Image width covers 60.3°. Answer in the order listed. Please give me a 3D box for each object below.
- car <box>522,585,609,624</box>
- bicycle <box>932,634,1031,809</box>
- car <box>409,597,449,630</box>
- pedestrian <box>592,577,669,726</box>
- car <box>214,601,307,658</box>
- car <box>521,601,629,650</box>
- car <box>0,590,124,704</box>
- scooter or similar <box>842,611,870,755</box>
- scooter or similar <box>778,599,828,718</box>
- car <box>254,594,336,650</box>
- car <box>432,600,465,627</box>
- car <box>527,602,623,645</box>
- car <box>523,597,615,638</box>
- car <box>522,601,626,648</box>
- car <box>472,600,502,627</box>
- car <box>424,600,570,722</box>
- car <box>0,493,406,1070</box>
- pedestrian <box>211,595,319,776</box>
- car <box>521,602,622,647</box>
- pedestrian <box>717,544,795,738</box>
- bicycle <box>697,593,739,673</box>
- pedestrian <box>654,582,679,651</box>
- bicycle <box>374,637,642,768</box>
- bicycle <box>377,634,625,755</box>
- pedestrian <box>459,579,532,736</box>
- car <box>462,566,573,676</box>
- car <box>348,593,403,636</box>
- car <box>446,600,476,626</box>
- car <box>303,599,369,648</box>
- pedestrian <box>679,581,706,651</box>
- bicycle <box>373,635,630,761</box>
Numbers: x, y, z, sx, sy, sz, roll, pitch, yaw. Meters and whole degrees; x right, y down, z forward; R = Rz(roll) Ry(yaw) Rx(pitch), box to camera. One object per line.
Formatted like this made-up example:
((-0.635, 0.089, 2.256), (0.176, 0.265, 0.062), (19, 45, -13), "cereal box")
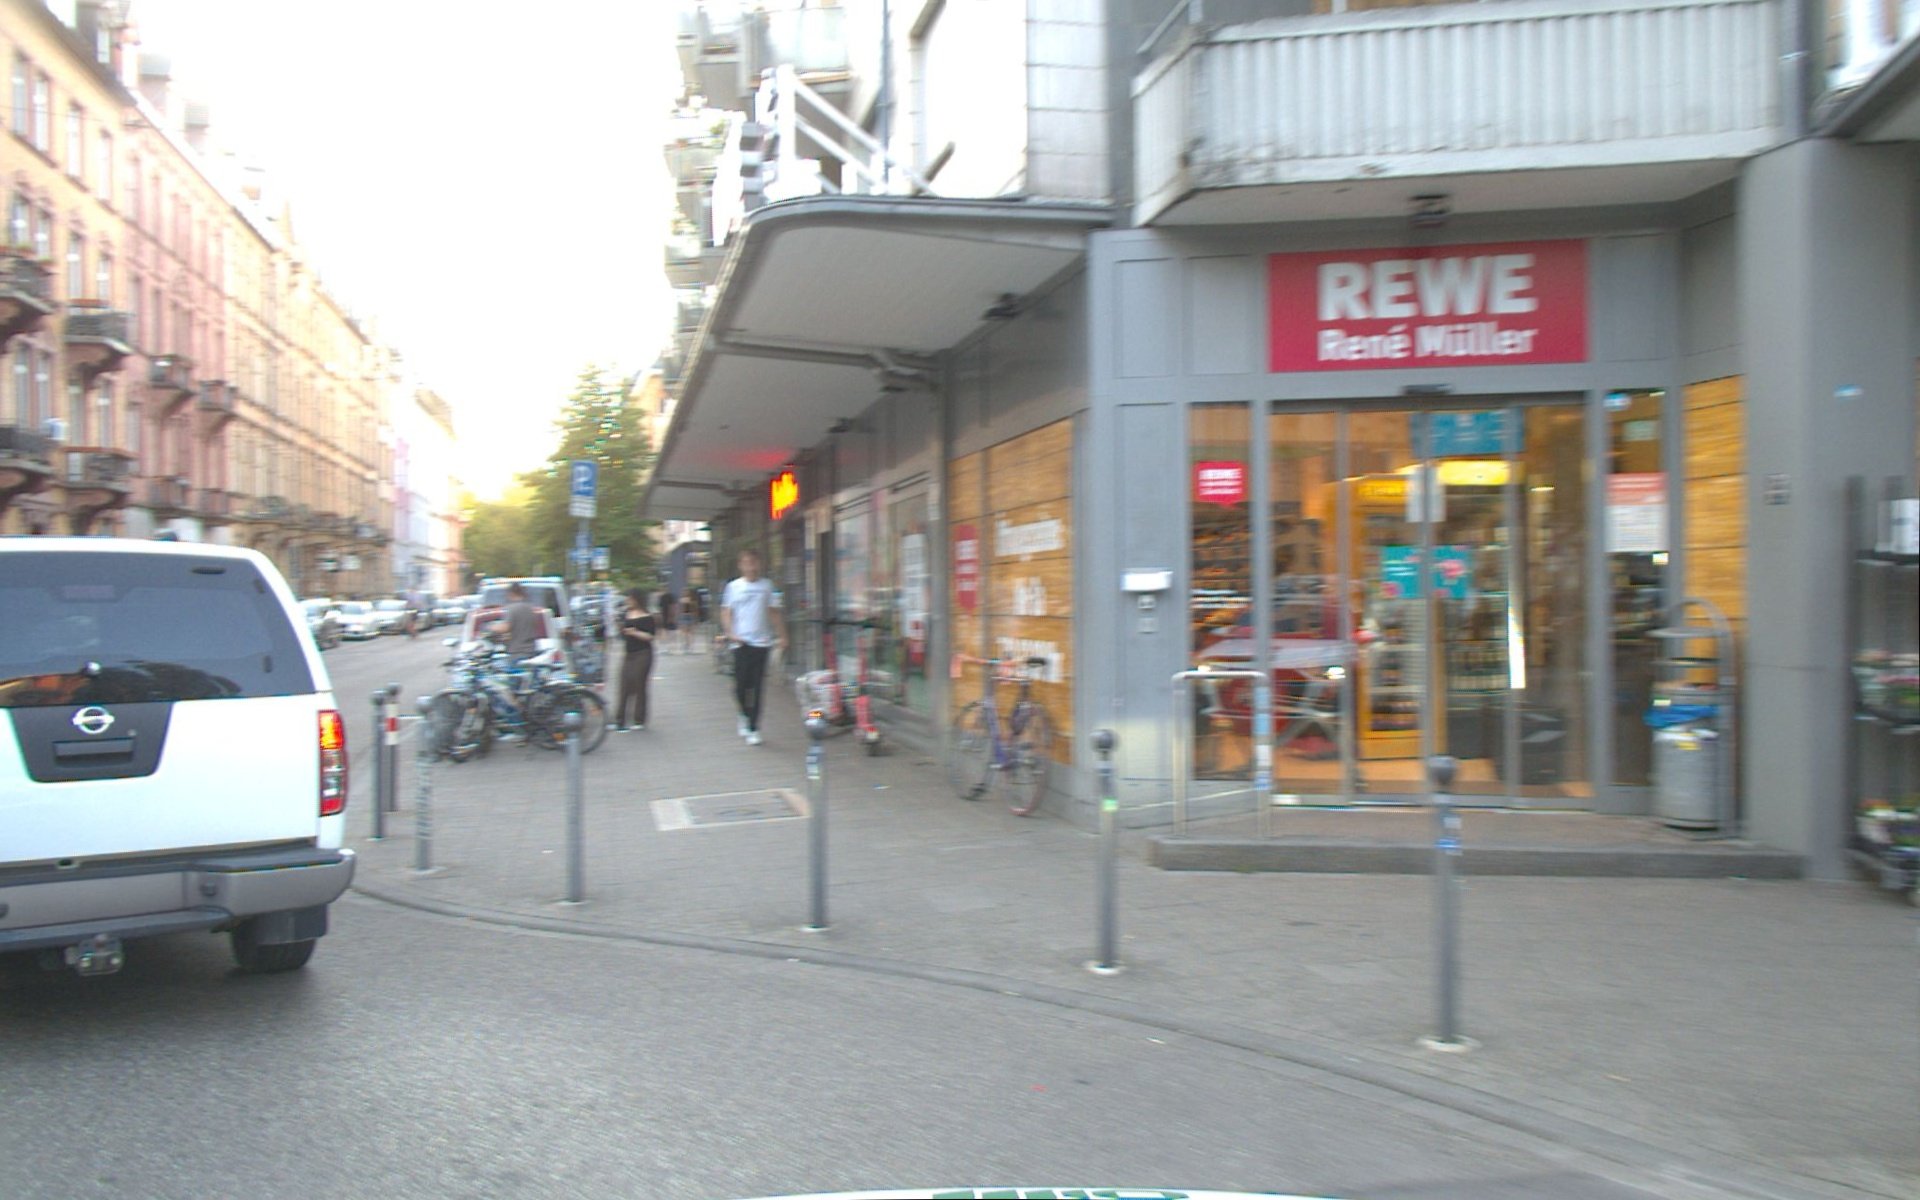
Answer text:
((-18.440, 0.231, 77.356), (3.919, 1.780, 1.834), (1, -1, -14), "car")
((0.138, 0.805, 11.321), (0.285, 1.132, 0.958), (1, -1, -25), "bicycle")
((-29.970, 0.760, 93.401), (1.803, 1.780, 3.986), (1, -1, -13), "car")
((-3.826, 0.588, 19.243), (0.705, 1.692, 0.703), (0, -1, 3), "pedestrian")
((-20.151, 0.836, 47.806), (1.803, 1.574, 4.023), (1, -1, -13), "car")
((-14.562, 0.955, 62.617), (3.919, 1.780, 1.834), (1, -1, -14), "car")
((-15.560, 0.739, 27.748), (1.803, 1.780, 3.986), (1, -1, -13), "car")
((-0.968, 0.743, 15.305), (0.215, 1.259, 0.965), (0, 1, -5), "scooter or similar")
((-1.824, 0.659, 19.127), (0.432, 1.313, 1.663), (1, -1, -10), "scooter or similar")
((-21.160, 0.705, 52.738), (1.803, 1.708, 4.023), (1, -1, -13), "car")
((-34.666, 0.890, 112.177), (1.803, 1.780, 3.986), (1, -1, -13), "car")
((-16.322, 1.009, 70.204), (3.919, 1.780, 1.834), (1, -1, -14), "car")
((-17.574, 0.772, 74.412), (3.919, 1.780, 1.834), (1, -1, -14), "car")
((-15.099, 0.970, 64.782), (3.919, 1.780, 1.834), (1, -1, -14), "car")
((-32.307, 0.923, 113.051), (1.803, 1.780, 3.986), (1, -1, -13), "car")
((-6.469, 0.809, 23.447), (1.803, 1.569, 3.986), (1, -1, -13), "car")
((-4.218, 0.606, 7.502), (1.922, 1.842, 4.939), (-1, 0, -35), "car")
((-6.534, 0.785, 15.598), (0.784, 1.649, 0.941), (1, -1, -15), "pedestrian")
((-15.793, 0.987, 67.343), (3.919, 1.780, 1.834), (1, -1, -14), "car")
((-2.098, 0.416, 16.960), (0.707, 1.940, 0.700), (1, -1, -13), "pedestrian")
((-4.534, 0.606, 30.919), (0.546, 1.432, 2.087), (1, -1, -15), "bicycle")
((-7.924, 0.456, 44.682), (0.615, 1.843, 0.787), (1, -1, -12), "pedestrian")
((-4.395, 0.973, 16.163), (2.423, 1.056, 0.614), (-4, 1, -18), "bicycle")
((-4.821, 0.972, 17.444), (2.423, 1.056, 0.613), (-4, 1, -18), "bicycle")
((-5.133, 0.626, 18.317), (0.707, 1.692, 0.700), (1, -1, -13), "pedestrian")
((-8.479, 0.404, 31.967), (1.909, 1.967, 3.986), (1, -1, -13), "car")
((-25.372, 0.635, 71.875), (1.803, 1.780, 3.986), (1, -1, -13), "car")
((-35.689, 0.939, 118.405), (1.803, 1.780, 3.986), (1, -1, -13), "car")
((-23.575, 0.865, 62.626), (1.803, 1.780, 3.986), (1, -1, -13), "car")
((-7.170, 0.431, 44.345), (0.622, 1.843, 0.484), (1, -1, 0), "pedestrian")
((-4.640, 0.968, 16.802), (2.423, 1.056, 0.613), (-4, 1, -18), "bicycle")
